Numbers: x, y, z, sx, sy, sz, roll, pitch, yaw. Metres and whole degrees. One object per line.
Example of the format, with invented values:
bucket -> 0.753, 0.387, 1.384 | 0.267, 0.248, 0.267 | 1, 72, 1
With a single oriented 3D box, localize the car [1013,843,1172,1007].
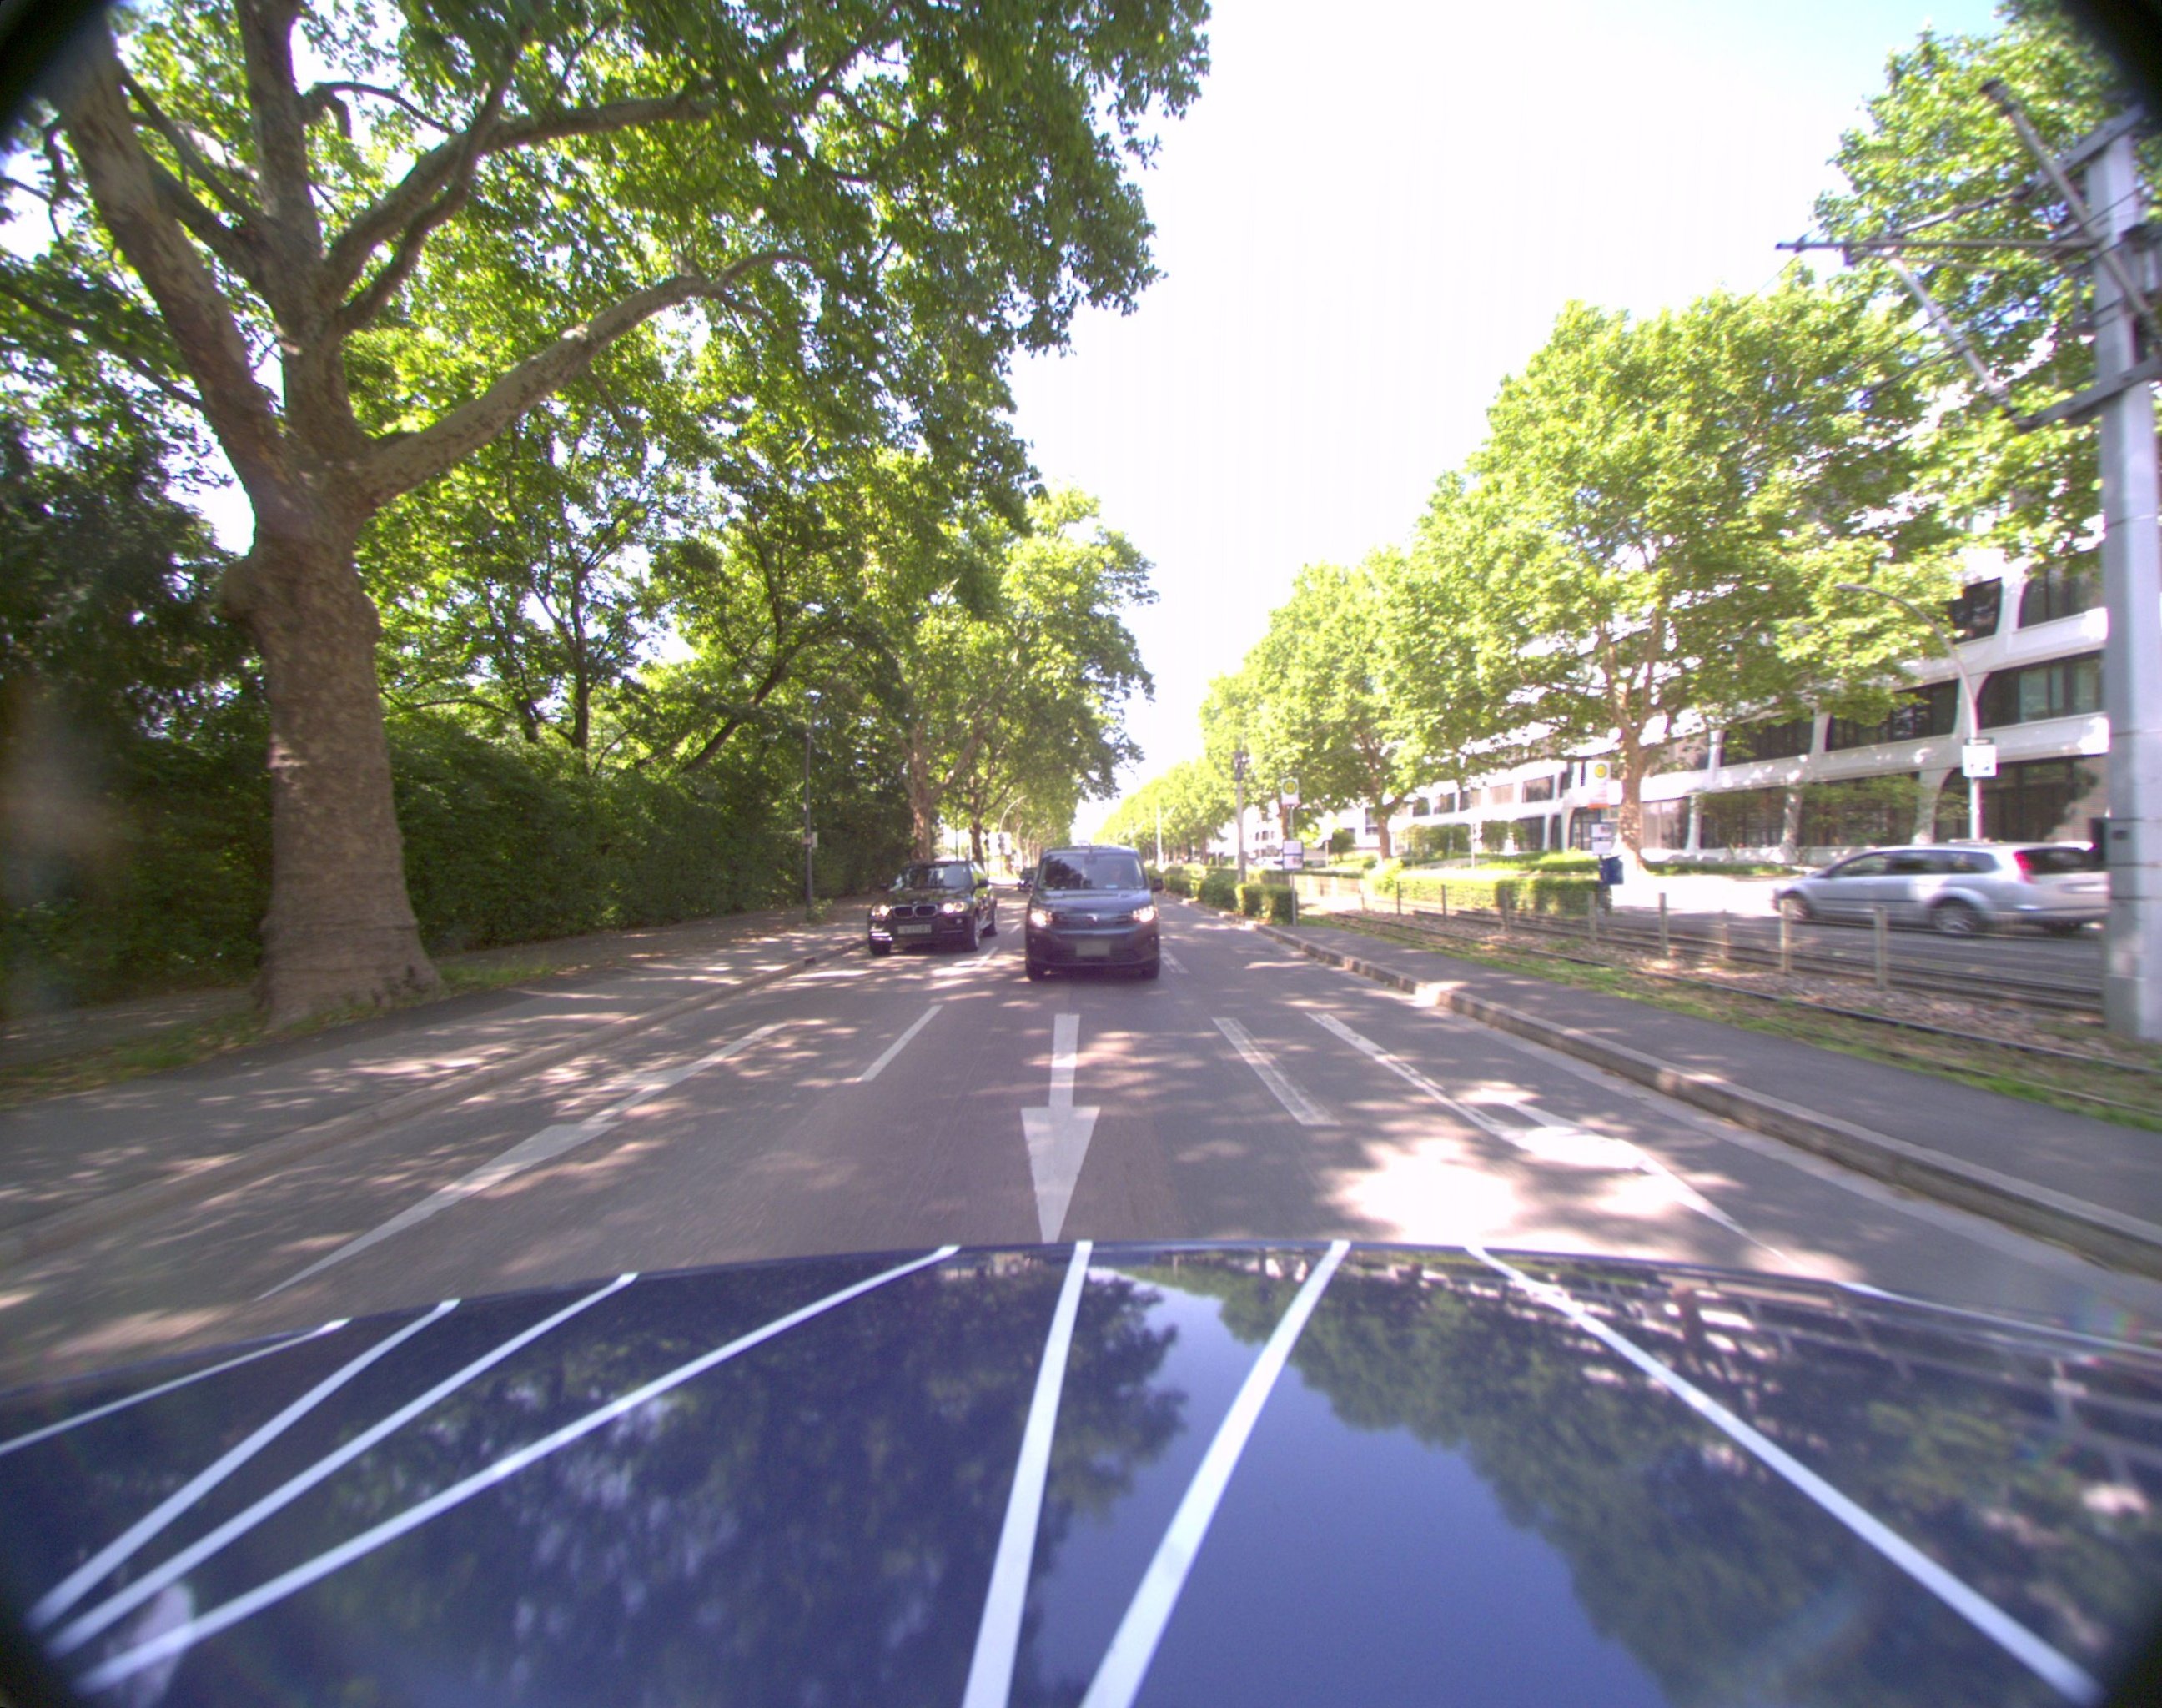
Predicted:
car -> 0.165, 0.817, 10.636 | 1.789, 1.839, 4.000 | -1, 0, 1

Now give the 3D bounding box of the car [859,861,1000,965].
car -> -2.839, 1.042, 15.232 | 1.924, 1.720, 4.152 | -2, 0, 0

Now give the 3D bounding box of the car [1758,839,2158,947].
car -> 14.471, 0.562, 13.038 | 1.801, 1.480, 4.385 | -2, 0, 1

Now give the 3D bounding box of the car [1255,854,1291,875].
car -> 15.418, 0.831, 61.266 | 1.815, 1.553, 4.304 | -2, 0, 0

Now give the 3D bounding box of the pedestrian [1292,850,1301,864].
pedestrian -> 25.319, 0.341, 89.383 | 0.722, 1.579, 1.015 | -2, 0, 0

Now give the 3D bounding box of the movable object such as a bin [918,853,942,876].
movable object such as a bin -> -21.055, 1.493, 106.073 | 2.376, 3.053, 5.984 | -2, 0, -3

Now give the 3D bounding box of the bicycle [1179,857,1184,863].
bicycle -> 20.536, 1.283, 155.042 | 0.666, 1.117, 2.031 | -2, 0, 1

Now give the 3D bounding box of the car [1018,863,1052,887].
car -> -2.958, 1.353, 49.955 | 1.854, 1.418, 4.152 | -2, 0, 1

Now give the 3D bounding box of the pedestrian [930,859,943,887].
pedestrian -> -9.472, 1.234, 49.812 | 0.633, 1.775, 0.874 | -2, 0, 0

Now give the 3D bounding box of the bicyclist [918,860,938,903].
bicyclist -> -5.669, 1.019, 28.170 | 0.621, 1.590, 0.732 | 0, 0, -2

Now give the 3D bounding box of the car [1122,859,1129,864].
car -> 14.319, 2.353, 244.148 | 1.761, 1.560, 4.019 | -2, 0, 0
